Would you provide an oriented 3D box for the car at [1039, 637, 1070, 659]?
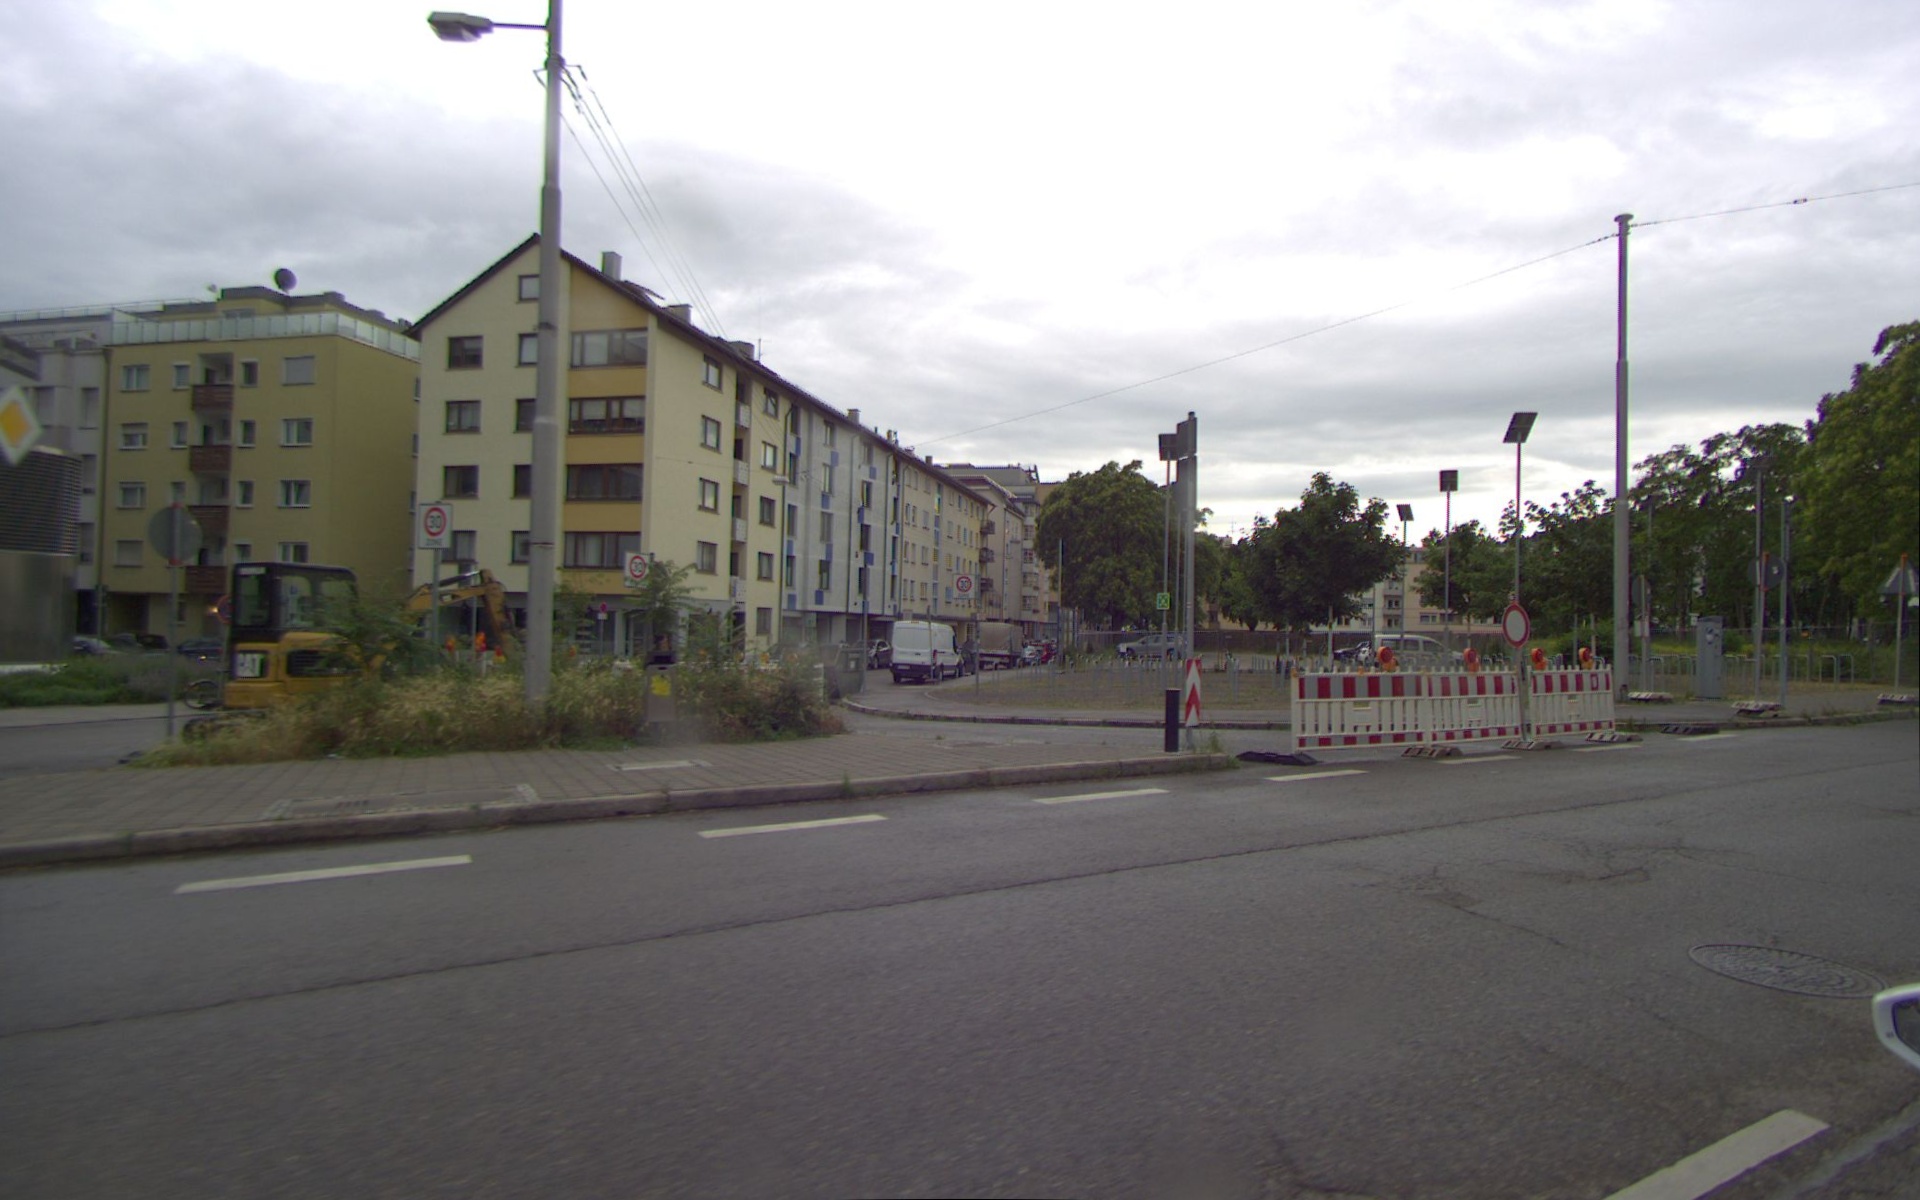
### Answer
[{"bbox_3d":[7.243,3.649,76.675,1.764,1.530,4.003,-2,-2,13],"label":"car"}]

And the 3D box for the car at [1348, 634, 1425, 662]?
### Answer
[{"bbox_3d":[25.136,2.818,59.335,3.919,1.647,1.801,0,-1,12],"label":"car"}]

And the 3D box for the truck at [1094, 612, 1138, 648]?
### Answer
[{"bbox_3d":[24.251,4.677,154.944,5.497,5.211,15.716,-2,-2,13],"label":"truck"}]

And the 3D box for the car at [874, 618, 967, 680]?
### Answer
[{"bbox_3d":[-1.584,2.089,43.087,2.620,2.445,5.738,-2,-2,11],"label":"car"}]

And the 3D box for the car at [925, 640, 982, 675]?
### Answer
[{"bbox_3d":[-0.260,2.729,48.163,1.764,1.530,4.003,-2,-2,14],"label":"car"}]

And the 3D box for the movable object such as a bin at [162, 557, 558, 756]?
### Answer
[{"bbox_3d":[-8.707,0.744,15.306,1.639,2.492,5.288,0,-1,21],"label":"movable object such as a bin"}]

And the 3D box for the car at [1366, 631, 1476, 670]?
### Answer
[{"bbox_3d":[22.660,2.463,49.592,4.597,1.858,2.001,0,-1,12],"label":"car"}]

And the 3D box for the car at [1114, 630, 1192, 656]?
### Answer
[{"bbox_3d":[12.497,2.776,64.880,4.806,1.646,2.127,0,-3,15],"label":"car"}]

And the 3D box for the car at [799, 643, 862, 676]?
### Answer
[{"bbox_3d":[-6.397,2.921,49.909,1.764,1.530,4.003,-2,-2,14],"label":"car"}]

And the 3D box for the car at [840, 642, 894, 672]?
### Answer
[{"bbox_3d":[-5.058,3.103,55.094,1.764,1.530,4.003,-2,-2,13],"label":"car"}]

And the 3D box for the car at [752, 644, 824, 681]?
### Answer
[{"bbox_3d":[-7.578,2.735,44.611,1.764,1.530,4.003,-2,-2,13],"label":"car"}]

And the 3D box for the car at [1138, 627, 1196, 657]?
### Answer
[{"bbox_3d":[14.796,3.012,71.732,3.919,2.079,1.801,0,-3,15],"label":"car"}]

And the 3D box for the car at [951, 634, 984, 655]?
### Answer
[{"bbox_3d":[0.616,3.487,78.924,1.764,1.530,4.003,-2,-2,13],"label":"car"}]

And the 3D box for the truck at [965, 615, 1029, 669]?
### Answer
[{"bbox_3d":[2.215,2.446,58.881,2.724,2.970,5.294,-2,-2,13],"label":"truck"}]

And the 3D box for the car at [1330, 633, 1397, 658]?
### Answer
[{"bbox_3d":[26.846,3.011,66.913,3.919,1.647,1.801,0,-1,12],"label":"car"}]
